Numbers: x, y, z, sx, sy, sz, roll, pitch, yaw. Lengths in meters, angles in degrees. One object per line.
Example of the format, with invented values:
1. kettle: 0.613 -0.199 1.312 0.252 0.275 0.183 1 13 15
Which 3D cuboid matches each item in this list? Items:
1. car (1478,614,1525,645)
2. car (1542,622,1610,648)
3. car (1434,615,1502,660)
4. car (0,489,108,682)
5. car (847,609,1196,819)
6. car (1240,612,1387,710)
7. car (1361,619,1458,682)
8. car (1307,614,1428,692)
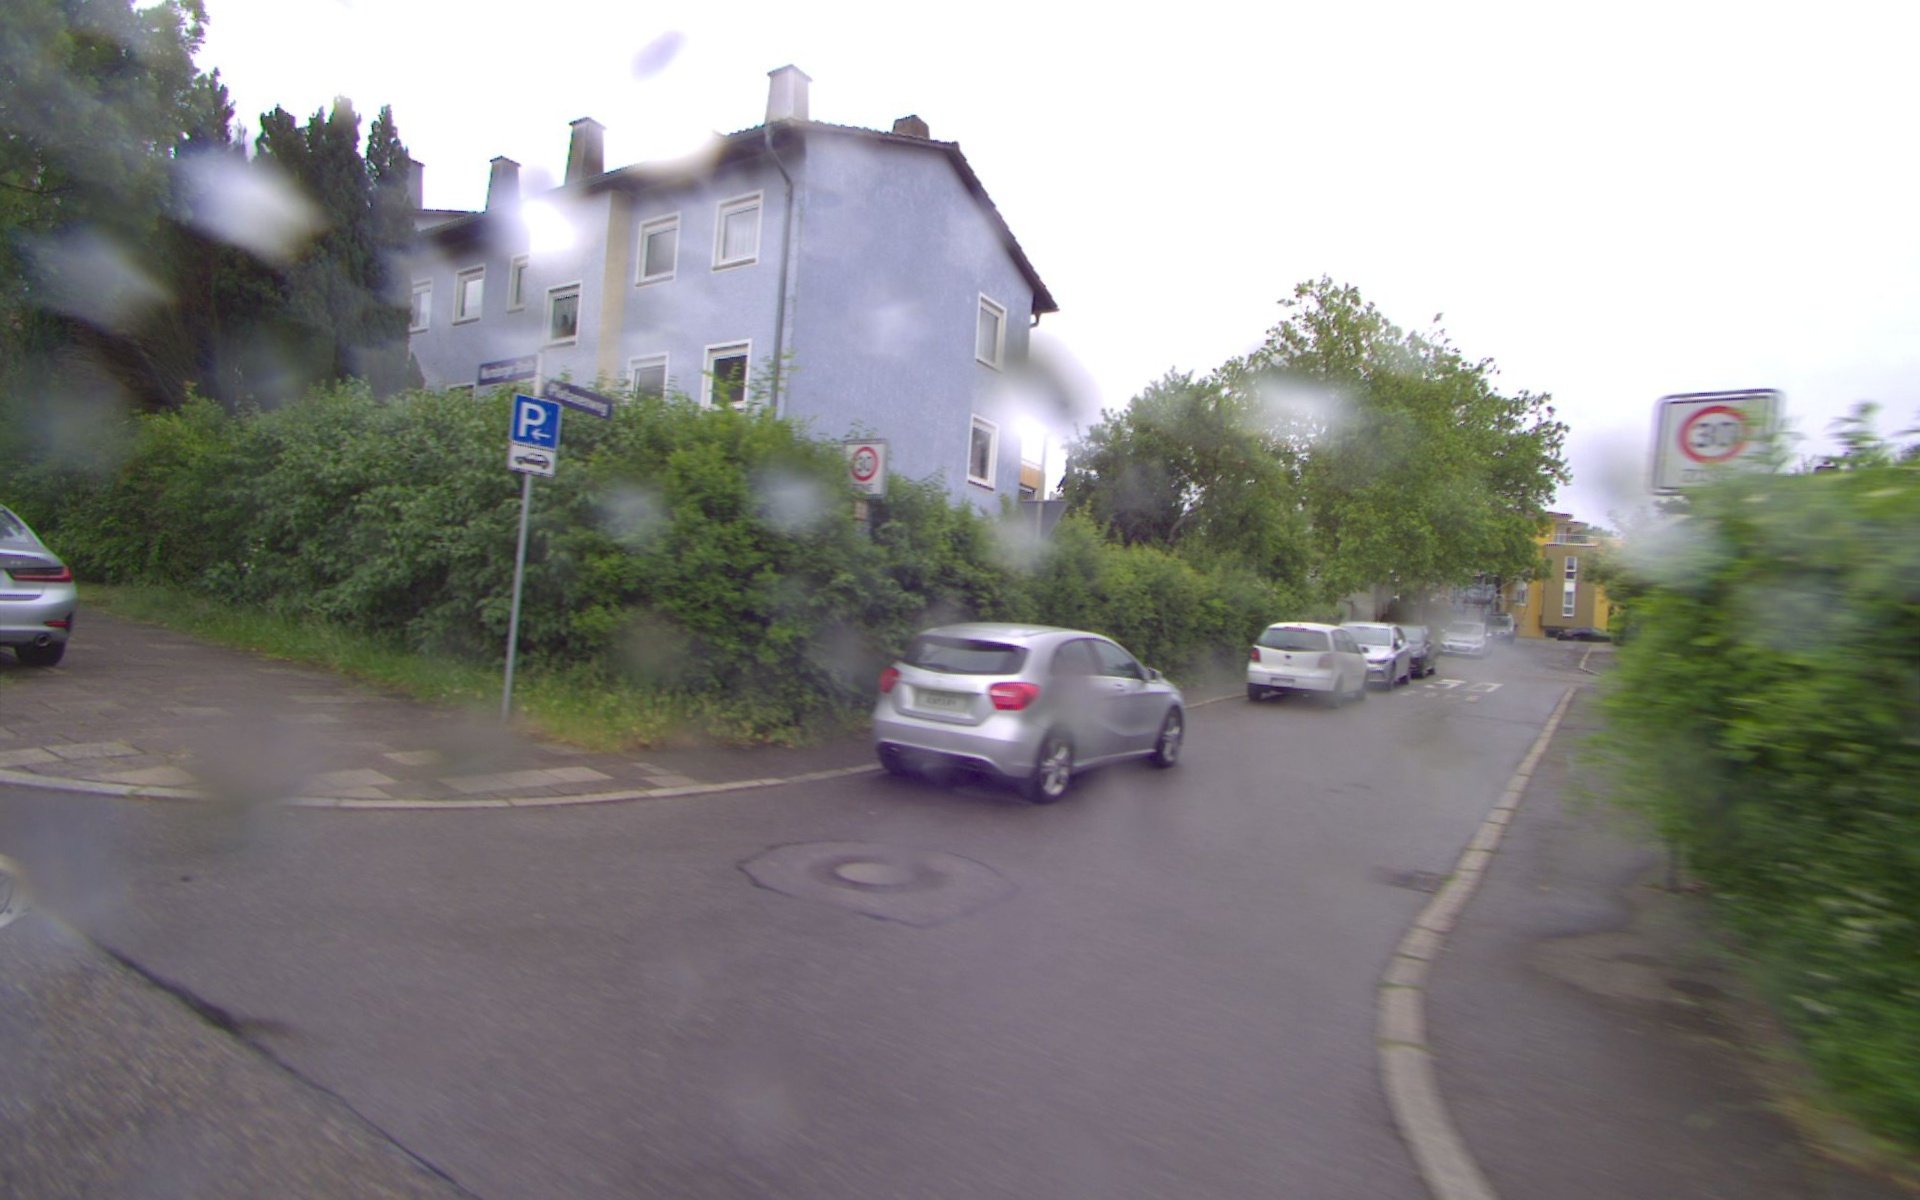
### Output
1. car: 31.366 1.689 58.264 1.701 1.533 3.767 7 3 37
2. car: 48.095 2.760 78.624 3.924 1.470 2.002 7 -2 6
3. car: 20.883 1.491 41.305 1.701 1.588 3.766 7 4 37
4. car: -9.689 -0.338 9.037 4.516 1.541 1.800 7 1 33
5. car: 0.795 0.968 10.000 1.700 1.532 3.772 6 2 34
6. car: 6.773 1.101 19.094 1.585 1.532 3.534 7 2 35
7. car: 12.909 1.383 28.757 1.700 1.533 3.769 7 3 35
8. car: 9.688 1.180 23.786 1.700 1.533 3.769 7 3 35
